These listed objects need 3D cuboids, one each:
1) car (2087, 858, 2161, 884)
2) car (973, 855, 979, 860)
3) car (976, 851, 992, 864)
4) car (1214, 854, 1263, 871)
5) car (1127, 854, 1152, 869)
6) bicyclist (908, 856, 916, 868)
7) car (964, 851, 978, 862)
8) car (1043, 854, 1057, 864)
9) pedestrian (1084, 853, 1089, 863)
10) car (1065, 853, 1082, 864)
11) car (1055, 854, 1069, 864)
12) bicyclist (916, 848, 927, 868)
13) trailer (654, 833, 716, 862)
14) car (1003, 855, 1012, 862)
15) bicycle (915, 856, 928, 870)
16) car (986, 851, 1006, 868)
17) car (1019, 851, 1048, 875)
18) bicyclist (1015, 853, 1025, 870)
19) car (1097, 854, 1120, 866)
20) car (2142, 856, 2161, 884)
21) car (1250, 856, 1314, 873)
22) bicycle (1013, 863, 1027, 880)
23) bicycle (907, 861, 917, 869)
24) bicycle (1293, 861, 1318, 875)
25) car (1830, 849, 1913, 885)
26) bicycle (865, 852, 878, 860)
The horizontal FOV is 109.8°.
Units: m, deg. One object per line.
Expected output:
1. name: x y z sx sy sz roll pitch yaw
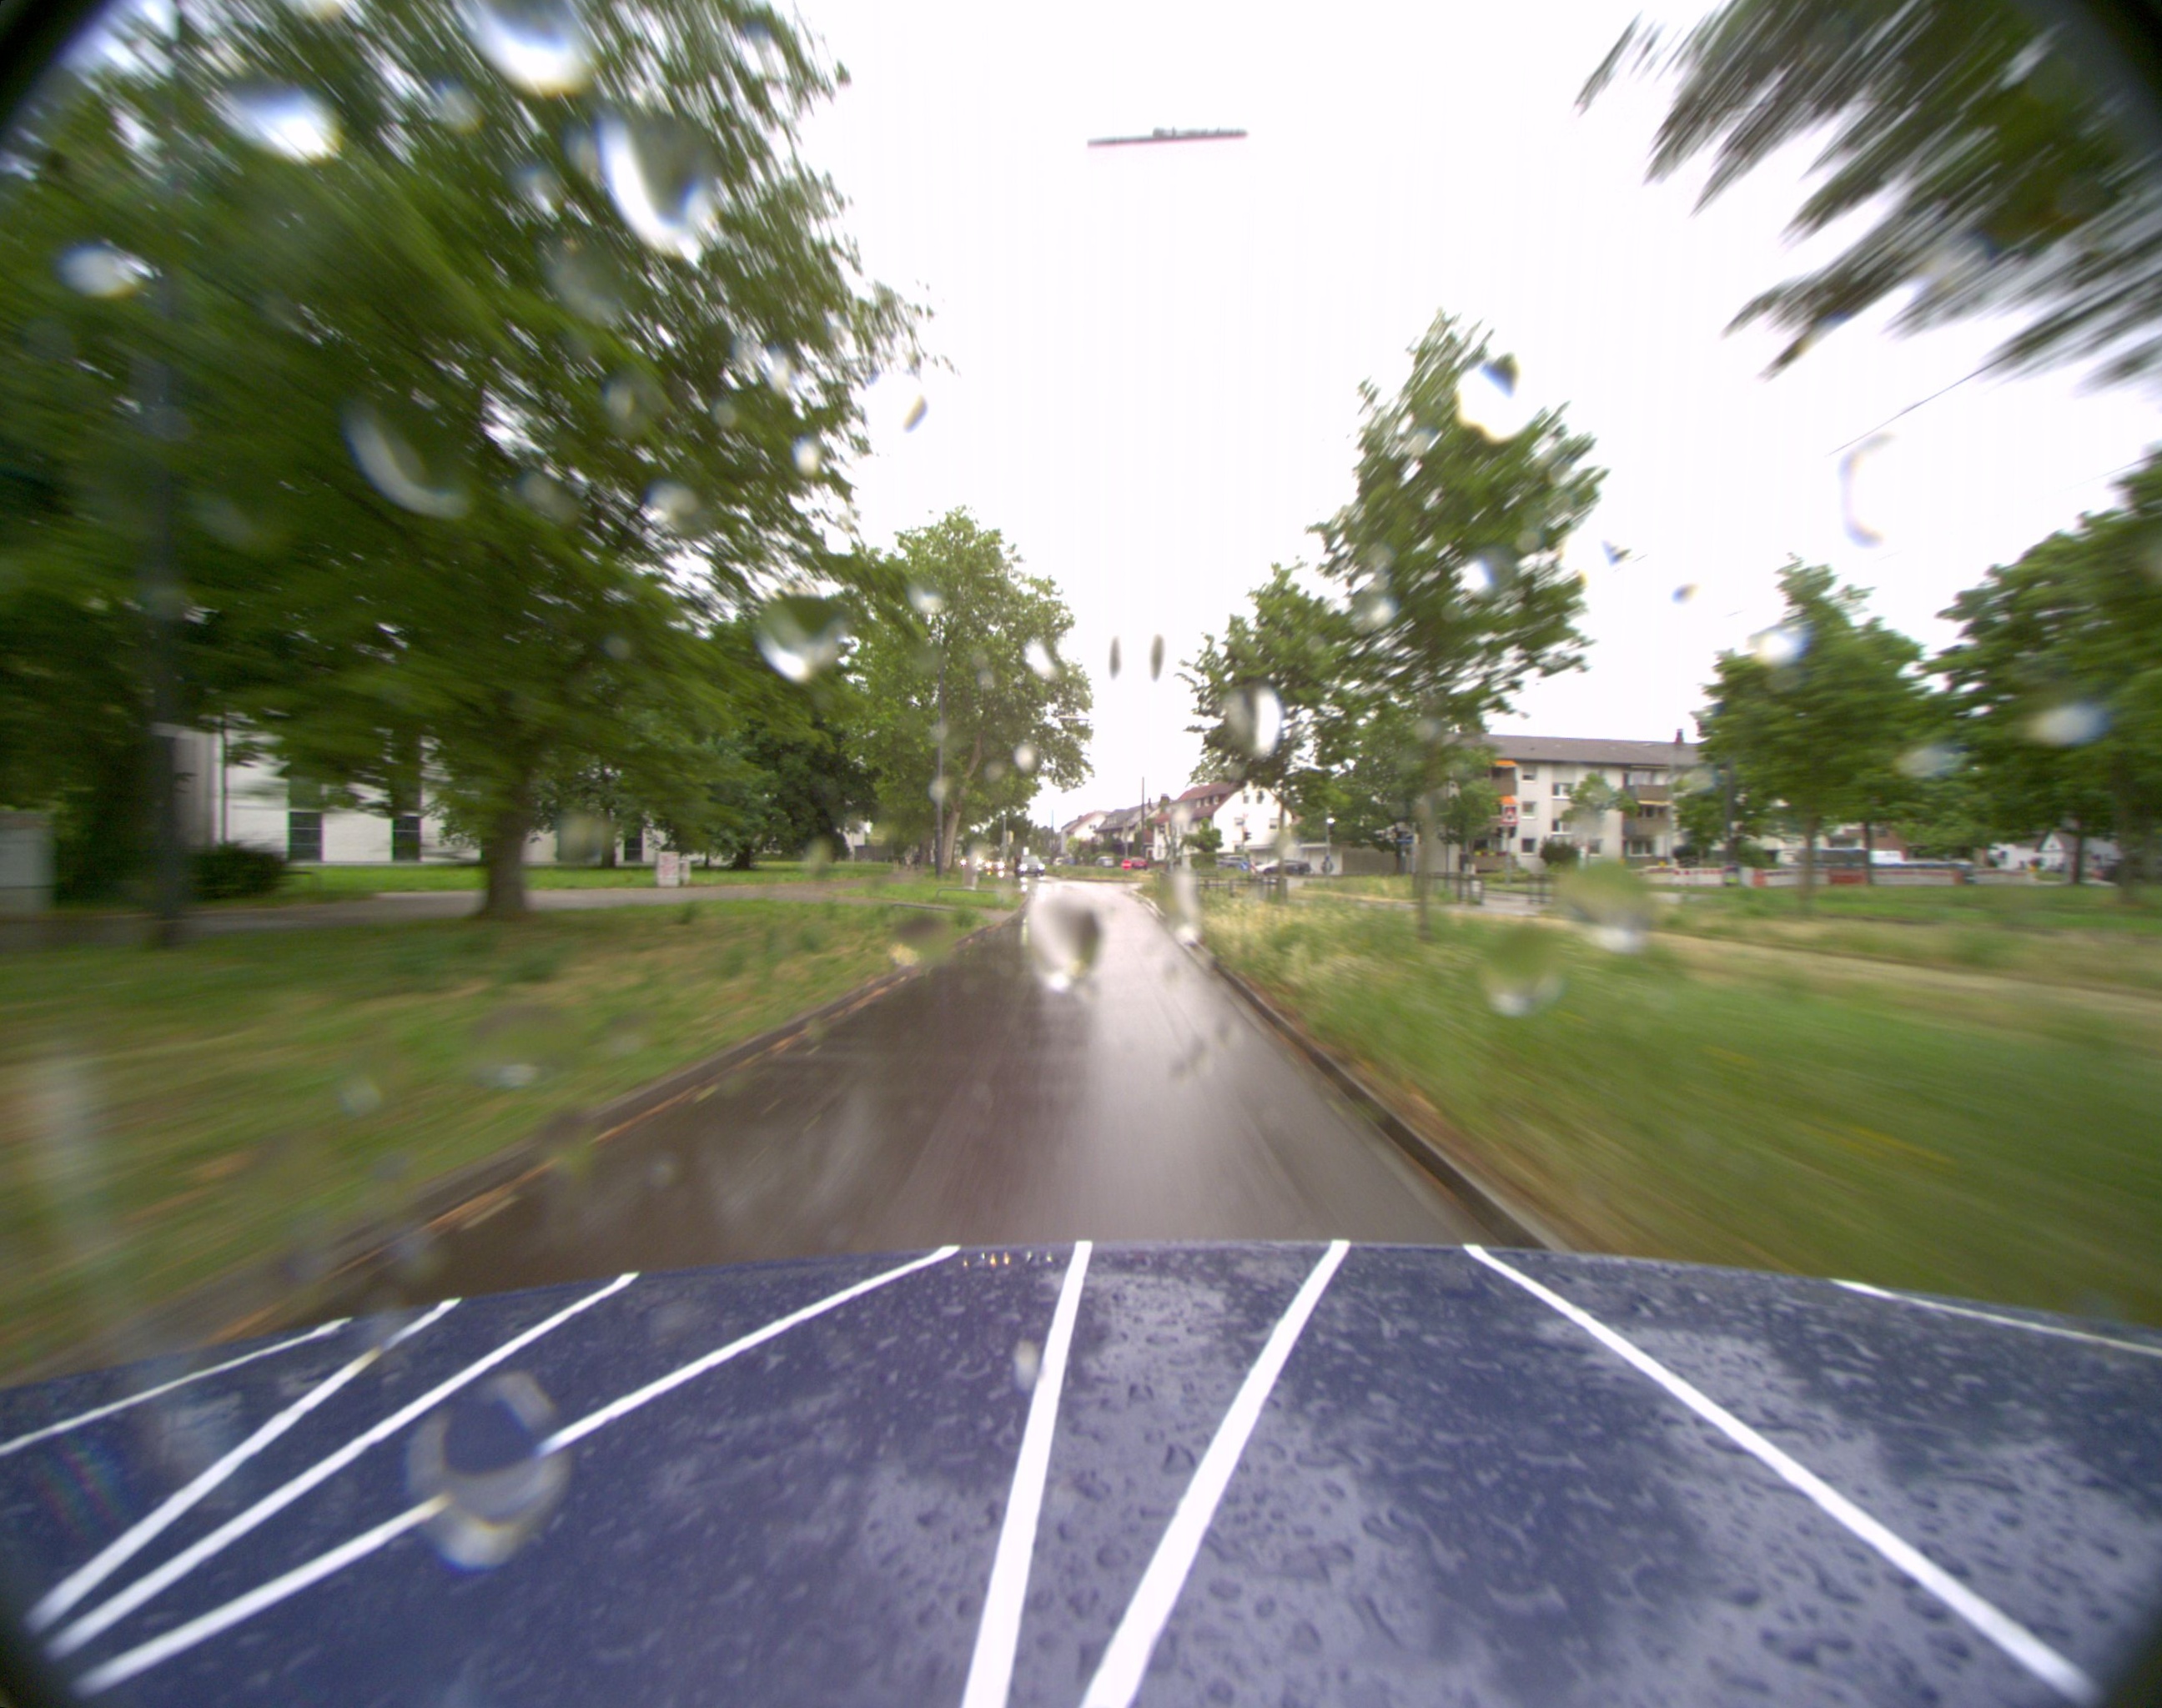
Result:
1. car: 52.722 0.832 37.271 3.731 1.242 1.669 1 0 39
2. car: -34.484 1.008 249.280 1.761 1.507 3.850 -2 1 -12
3. car: -13.043 0.447 101.944 1.769 1.715 3.930 1 1 -11
4. car: 14.532 0.767 70.348 4.002 1.567 1.890 1 0 -13
5. car: 6.693 0.846 87.506 1.848 1.538 3.968 -2 1 -11
6. bicyclist: -14.460 0.677 64.998 0.488 1.032 0.591 1 1 -1
7. car: -17.343 0.391 119.959 1.769 1.715 3.929 1 1 -14
8. car: -5.838 0.911 141.798 1.761 1.604 4.106 -2 1 -12
9. pedestrian: 0.954 0.654 124.111 0.600 1.757 0.868 -1 1 -12
10. car: -1.230 0.777 123.228 1.851 1.696 4.177 -1 0 -14
11. car: -3.217 0.868 129.899 1.719 1.520 3.597 -3 1 -13
12. bicyclist: -13.642 0.331 65.073 0.713 1.711 0.957 1 1 0
13. trailer: -32.087 -0.517 61.639 1.886 2.295 4.029 1 0 38
14. car: -18.525 1.115 191.404 1.761 1.507 3.850 -2 1 -12
15. bicycle: -13.649 0.779 65.117 0.713 1.136 1.972 1 1 1
16. car: -8.901 0.589 79.536 1.769 1.715 3.930 -1 1 -12
17. car: -3.793 0.700 60.004 1.769 1.715 3.931 -2 0 -11
18. bicyclist: -3.901 0.476 48.617 0.622 1.078 0.624 1 1 -9
19. car: 3.593 0.792 100.680 2.000 1.604 4.679 -1 0 -11
20. car: 50.039 0.741 33.337 3.731 1.242 1.669 1 0 39
21. car: 16.473 0.852 62.327 4.741 1.357 1.846 -1 0 -10
22. bicycle: -3.909 1.119 48.624 0.659 1.008 2.255 1 1 -9
23. bicycle: -14.458 0.948 65.031 0.488 0.704 1.457 1 0 -1
24. bicycle: 16.661 1.035 56.472 0.483 1.013 1.837 -4 2 -36
25. car: 54.519 0.892 52.415 4.472 2.432 1.915 1 0 -12
26. bicycle: -29.116 0.269 105.580 0.520 1.115 1.942 3 0 31
